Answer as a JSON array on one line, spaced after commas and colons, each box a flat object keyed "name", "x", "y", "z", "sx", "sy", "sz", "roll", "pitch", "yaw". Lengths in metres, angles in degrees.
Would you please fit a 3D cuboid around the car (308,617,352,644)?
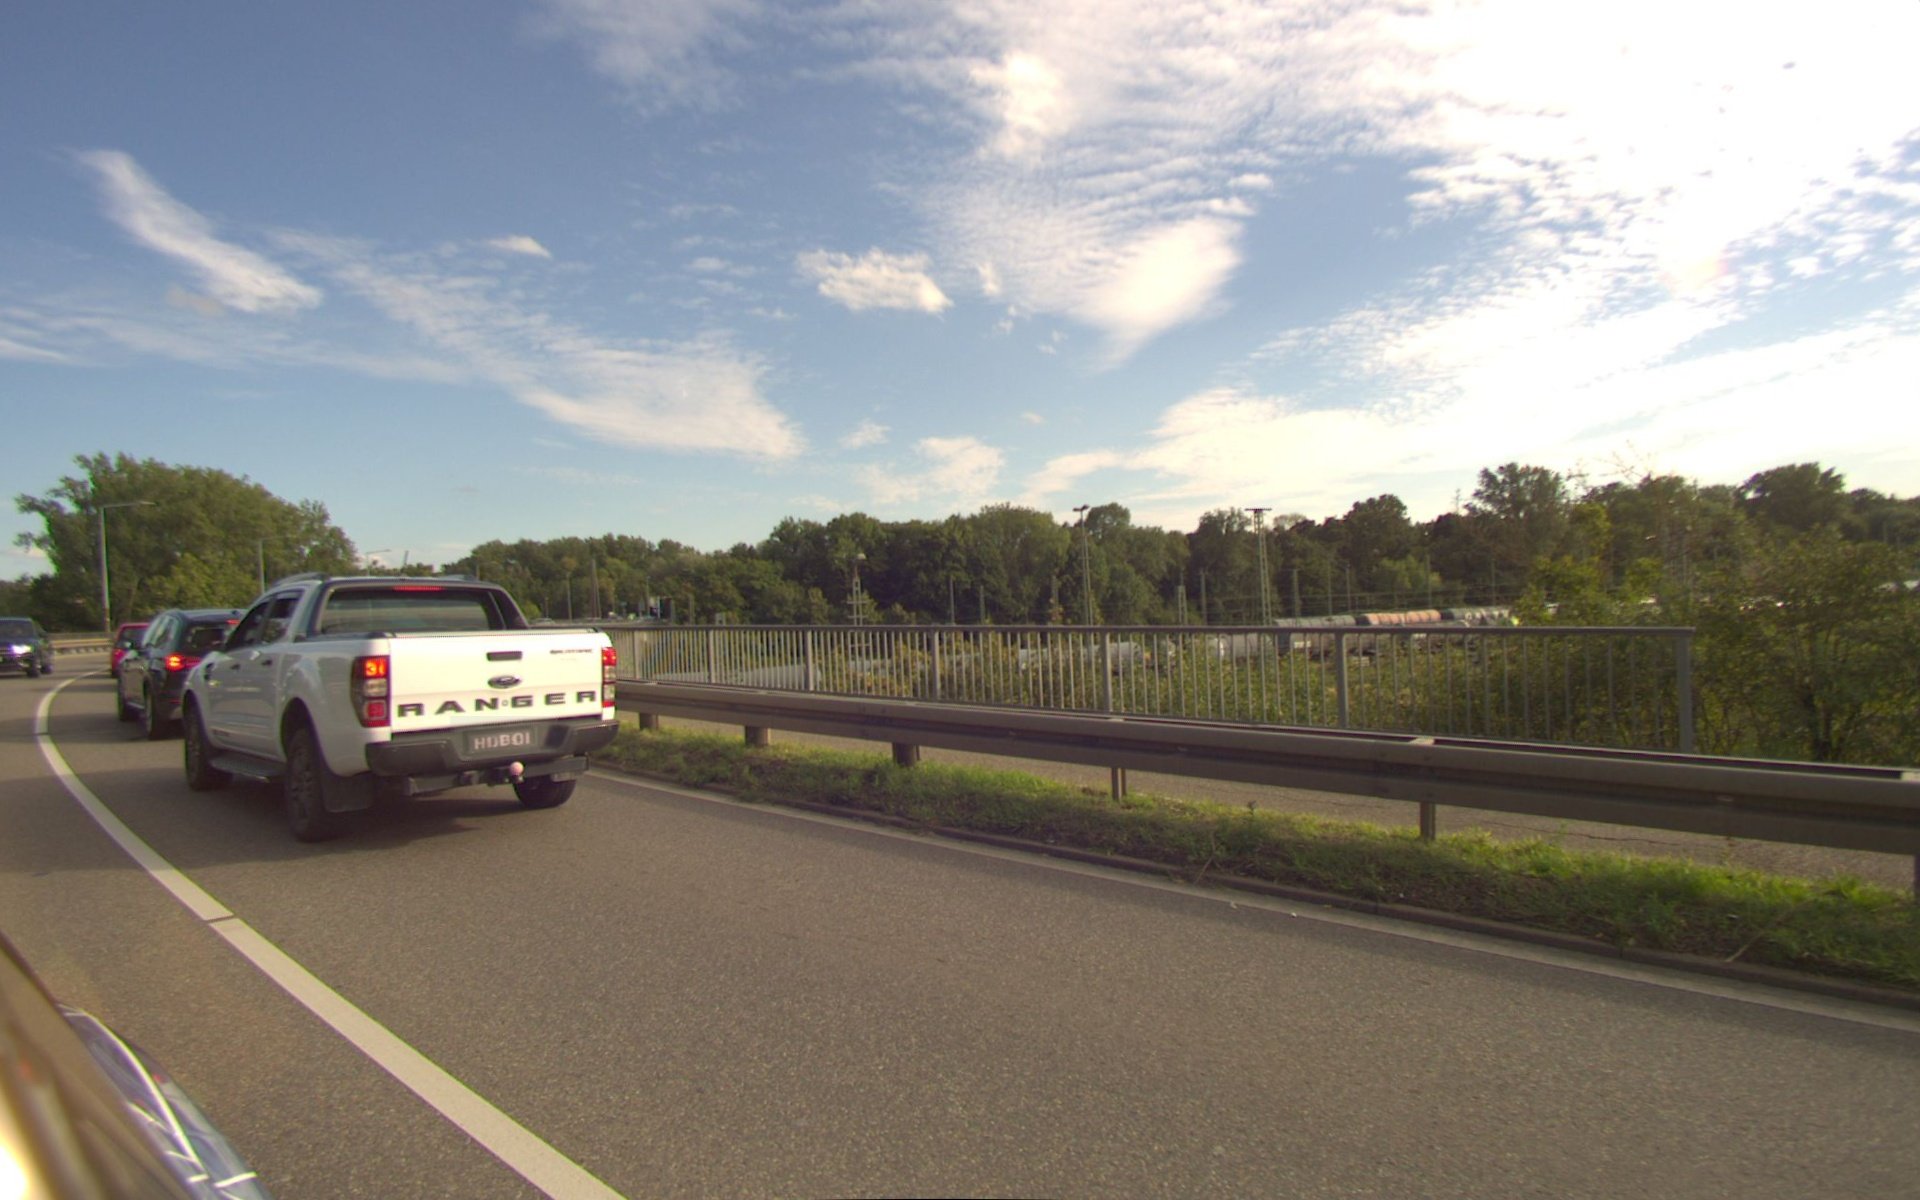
[{"name": "car", "x": -45.431, "y": 2.176, "z": 73.100, "sx": 1.979, "sy": 1.918, "sz": 4.883, "roll": 0, "pitch": -1, "yaw": -23}]

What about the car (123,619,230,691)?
[{"name": "car", "x": -17.796, "y": 1.207, "z": 22.912, "sx": 1.710, "sy": 1.466, "sz": 4.272, "roll": 2, "pitch": -3, "yaw": -40}]

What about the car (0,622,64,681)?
[{"name": "car", "x": -26.451, "y": 1.393, "z": 28.035, "sx": 1.789, "sy": 1.518, "sz": 4.403, "roll": 0, "pitch": -1, "yaw": -33}]

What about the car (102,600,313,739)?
[{"name": "car", "x": -10.812, "y": 0.877, "z": 14.398, "sx": 1.867, "sy": 1.662, "sz": 4.646, "roll": 0, "pitch": -1, "yaw": -44}]

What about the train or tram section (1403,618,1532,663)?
[{"name": "train or tram section", "x": 58.585, "y": 4.591, "z": 116.589, "sx": 16.458, "sy": 4.748, "sz": 3.107, "roll": -1, "pitch": -1, "yaw": -22}]

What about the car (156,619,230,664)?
[{"name": "car", "x": -30.069, "y": 1.587, "z": 39.785, "sx": 1.899, "sy": 1.662, "sz": 4.601, "roll": 0, "pitch": -1, "yaw": -32}]

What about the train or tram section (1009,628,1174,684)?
[{"name": "train or tram section", "x": 12.905, "y": 5.312, "z": 98.280, "sx": 16.458, "sy": 4.748, "sz": 3.107, "roll": -1, "pitch": -1, "yaw": -22}]

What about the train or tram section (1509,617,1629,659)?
[{"name": "train or tram section", "x": 73.875, "y": 4.506, "z": 122.652, "sx": 16.458, "sy": 4.748, "sz": 3.107, "roll": -1, "pitch": -1, "yaw": -22}]

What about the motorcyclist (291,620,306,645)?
[{"name": "motorcyclist", "x": -42.172, "y": 2.068, "z": 64.550, "sx": 0.611, "sy": 1.565, "sz": 0.940, "roll": 0, "pitch": -1, "yaw": -19}]

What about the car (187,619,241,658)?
[{"name": "car", "x": -34.220, "y": 1.736, "z": 46.517, "sx": 1.658, "sy": 1.662, "sz": 4.310, "roll": 0, "pitch": -1, "yaw": -32}]

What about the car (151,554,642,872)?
[{"name": "car", "x": -4.901, "y": 0.689, "z": 8.315, "sx": 5.402, "sy": 1.824, "sz": 1.880, "roll": -1, "pitch": -1, "yaw": 42}]

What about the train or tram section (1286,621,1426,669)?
[{"name": "train or tram section", "x": 43.318, "y": 4.788, "z": 110.481, "sx": 16.458, "sy": 4.748, "sz": 3.107, "roll": -1, "pitch": -1, "yaw": -22}]

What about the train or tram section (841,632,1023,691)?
[{"name": "train or tram section", "x": -2.399, "y": 5.471, "z": 92.040, "sx": 16.458, "sy": 4.748, "sz": 3.107, "roll": -1, "pitch": -1, "yaw": -23}]

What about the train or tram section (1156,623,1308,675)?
[{"name": "train or tram section", "x": 28.155, "y": 4.957, "z": 104.385, "sx": 16.458, "sy": 4.748, "sz": 3.107, "roll": -1, "pitch": -1, "yaw": -22}]

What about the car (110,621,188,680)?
[{"name": "car", "x": -22.308, "y": 1.341, "z": 27.913, "sx": 1.578, "sy": 1.475, "sz": 3.744, "roll": 0, "pitch": -1, "yaw": -38}]
